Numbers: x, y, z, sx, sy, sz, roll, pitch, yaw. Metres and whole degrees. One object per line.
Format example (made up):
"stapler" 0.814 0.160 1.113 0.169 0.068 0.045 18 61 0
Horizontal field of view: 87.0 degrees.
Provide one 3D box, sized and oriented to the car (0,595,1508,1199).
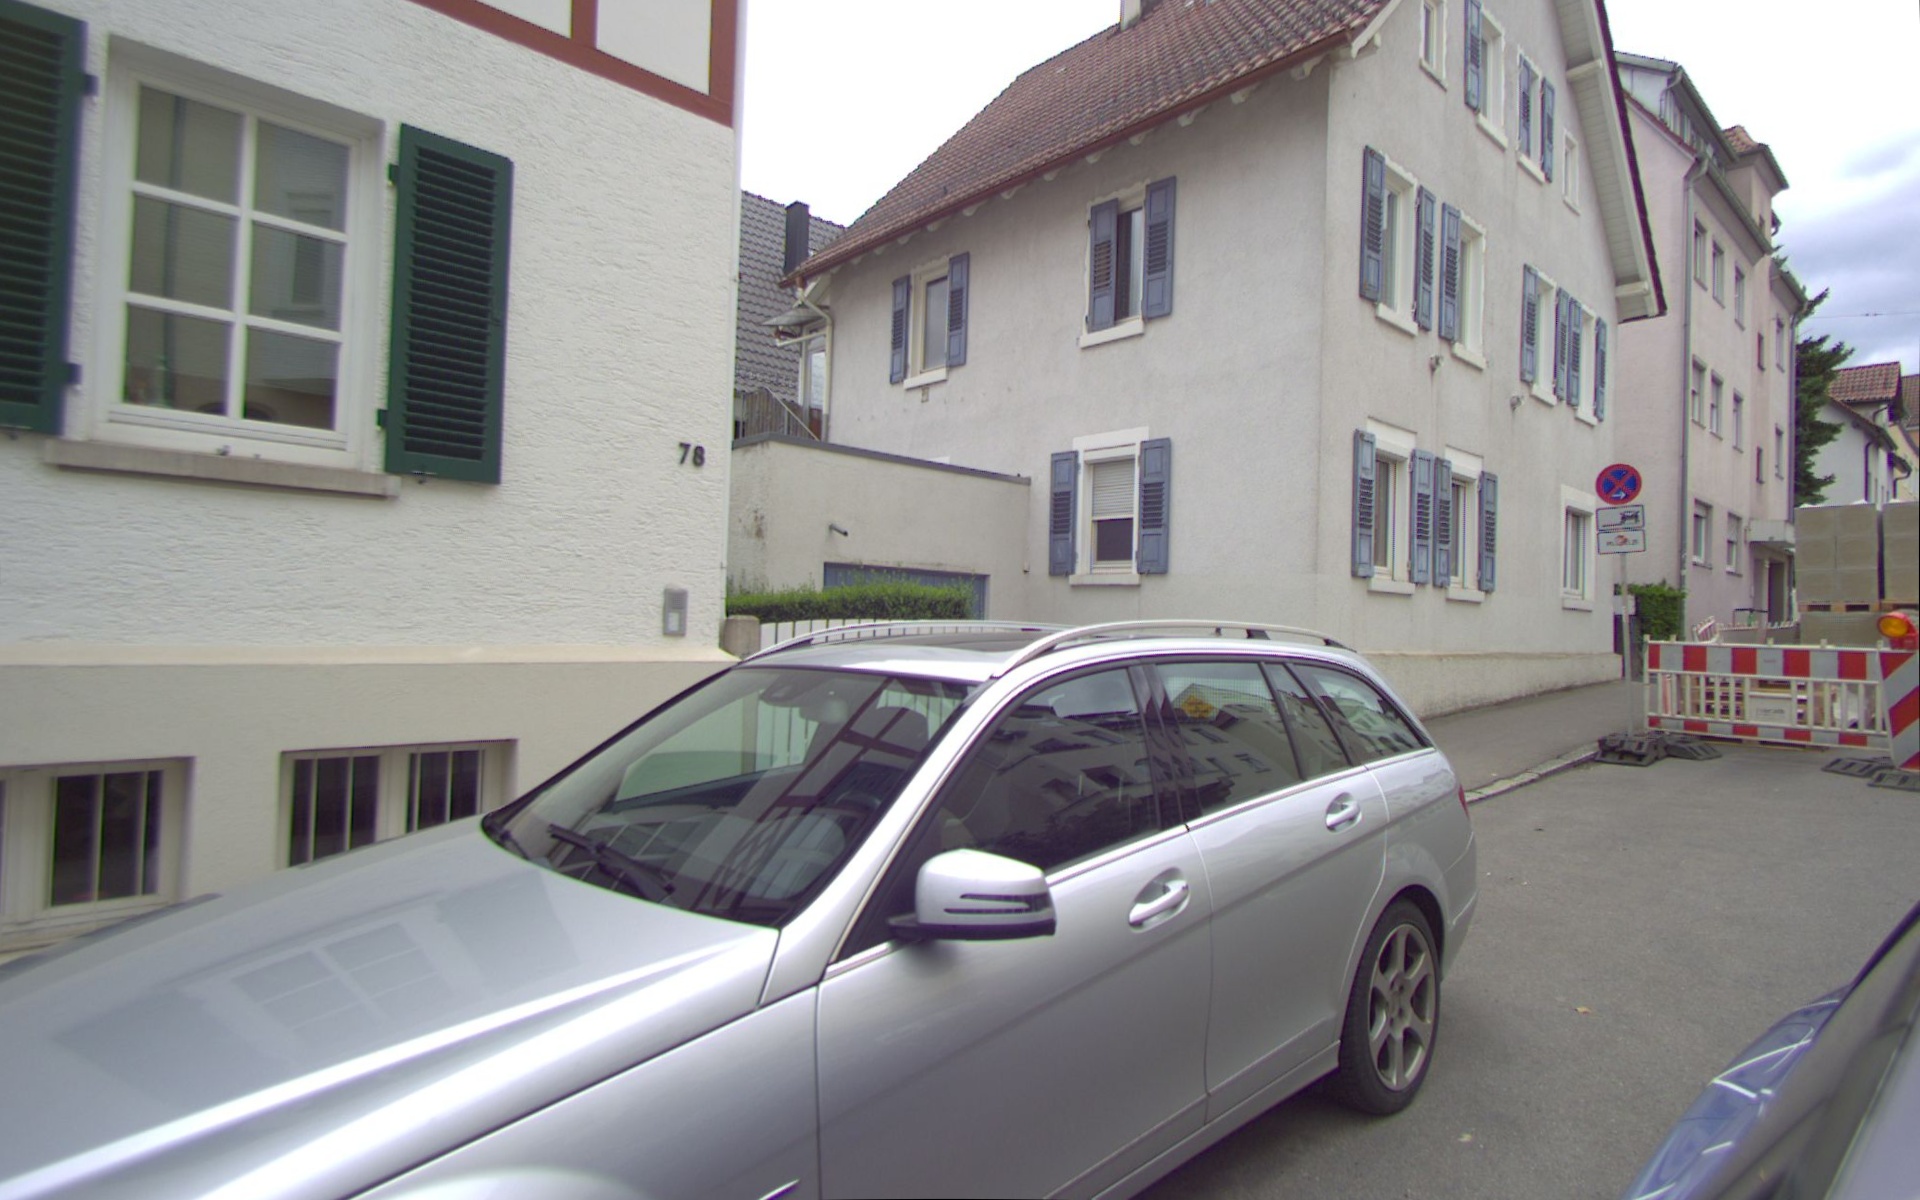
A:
"car" -0.162 0.731 2.704 4.164 1.411 1.626 1 -2 -43
